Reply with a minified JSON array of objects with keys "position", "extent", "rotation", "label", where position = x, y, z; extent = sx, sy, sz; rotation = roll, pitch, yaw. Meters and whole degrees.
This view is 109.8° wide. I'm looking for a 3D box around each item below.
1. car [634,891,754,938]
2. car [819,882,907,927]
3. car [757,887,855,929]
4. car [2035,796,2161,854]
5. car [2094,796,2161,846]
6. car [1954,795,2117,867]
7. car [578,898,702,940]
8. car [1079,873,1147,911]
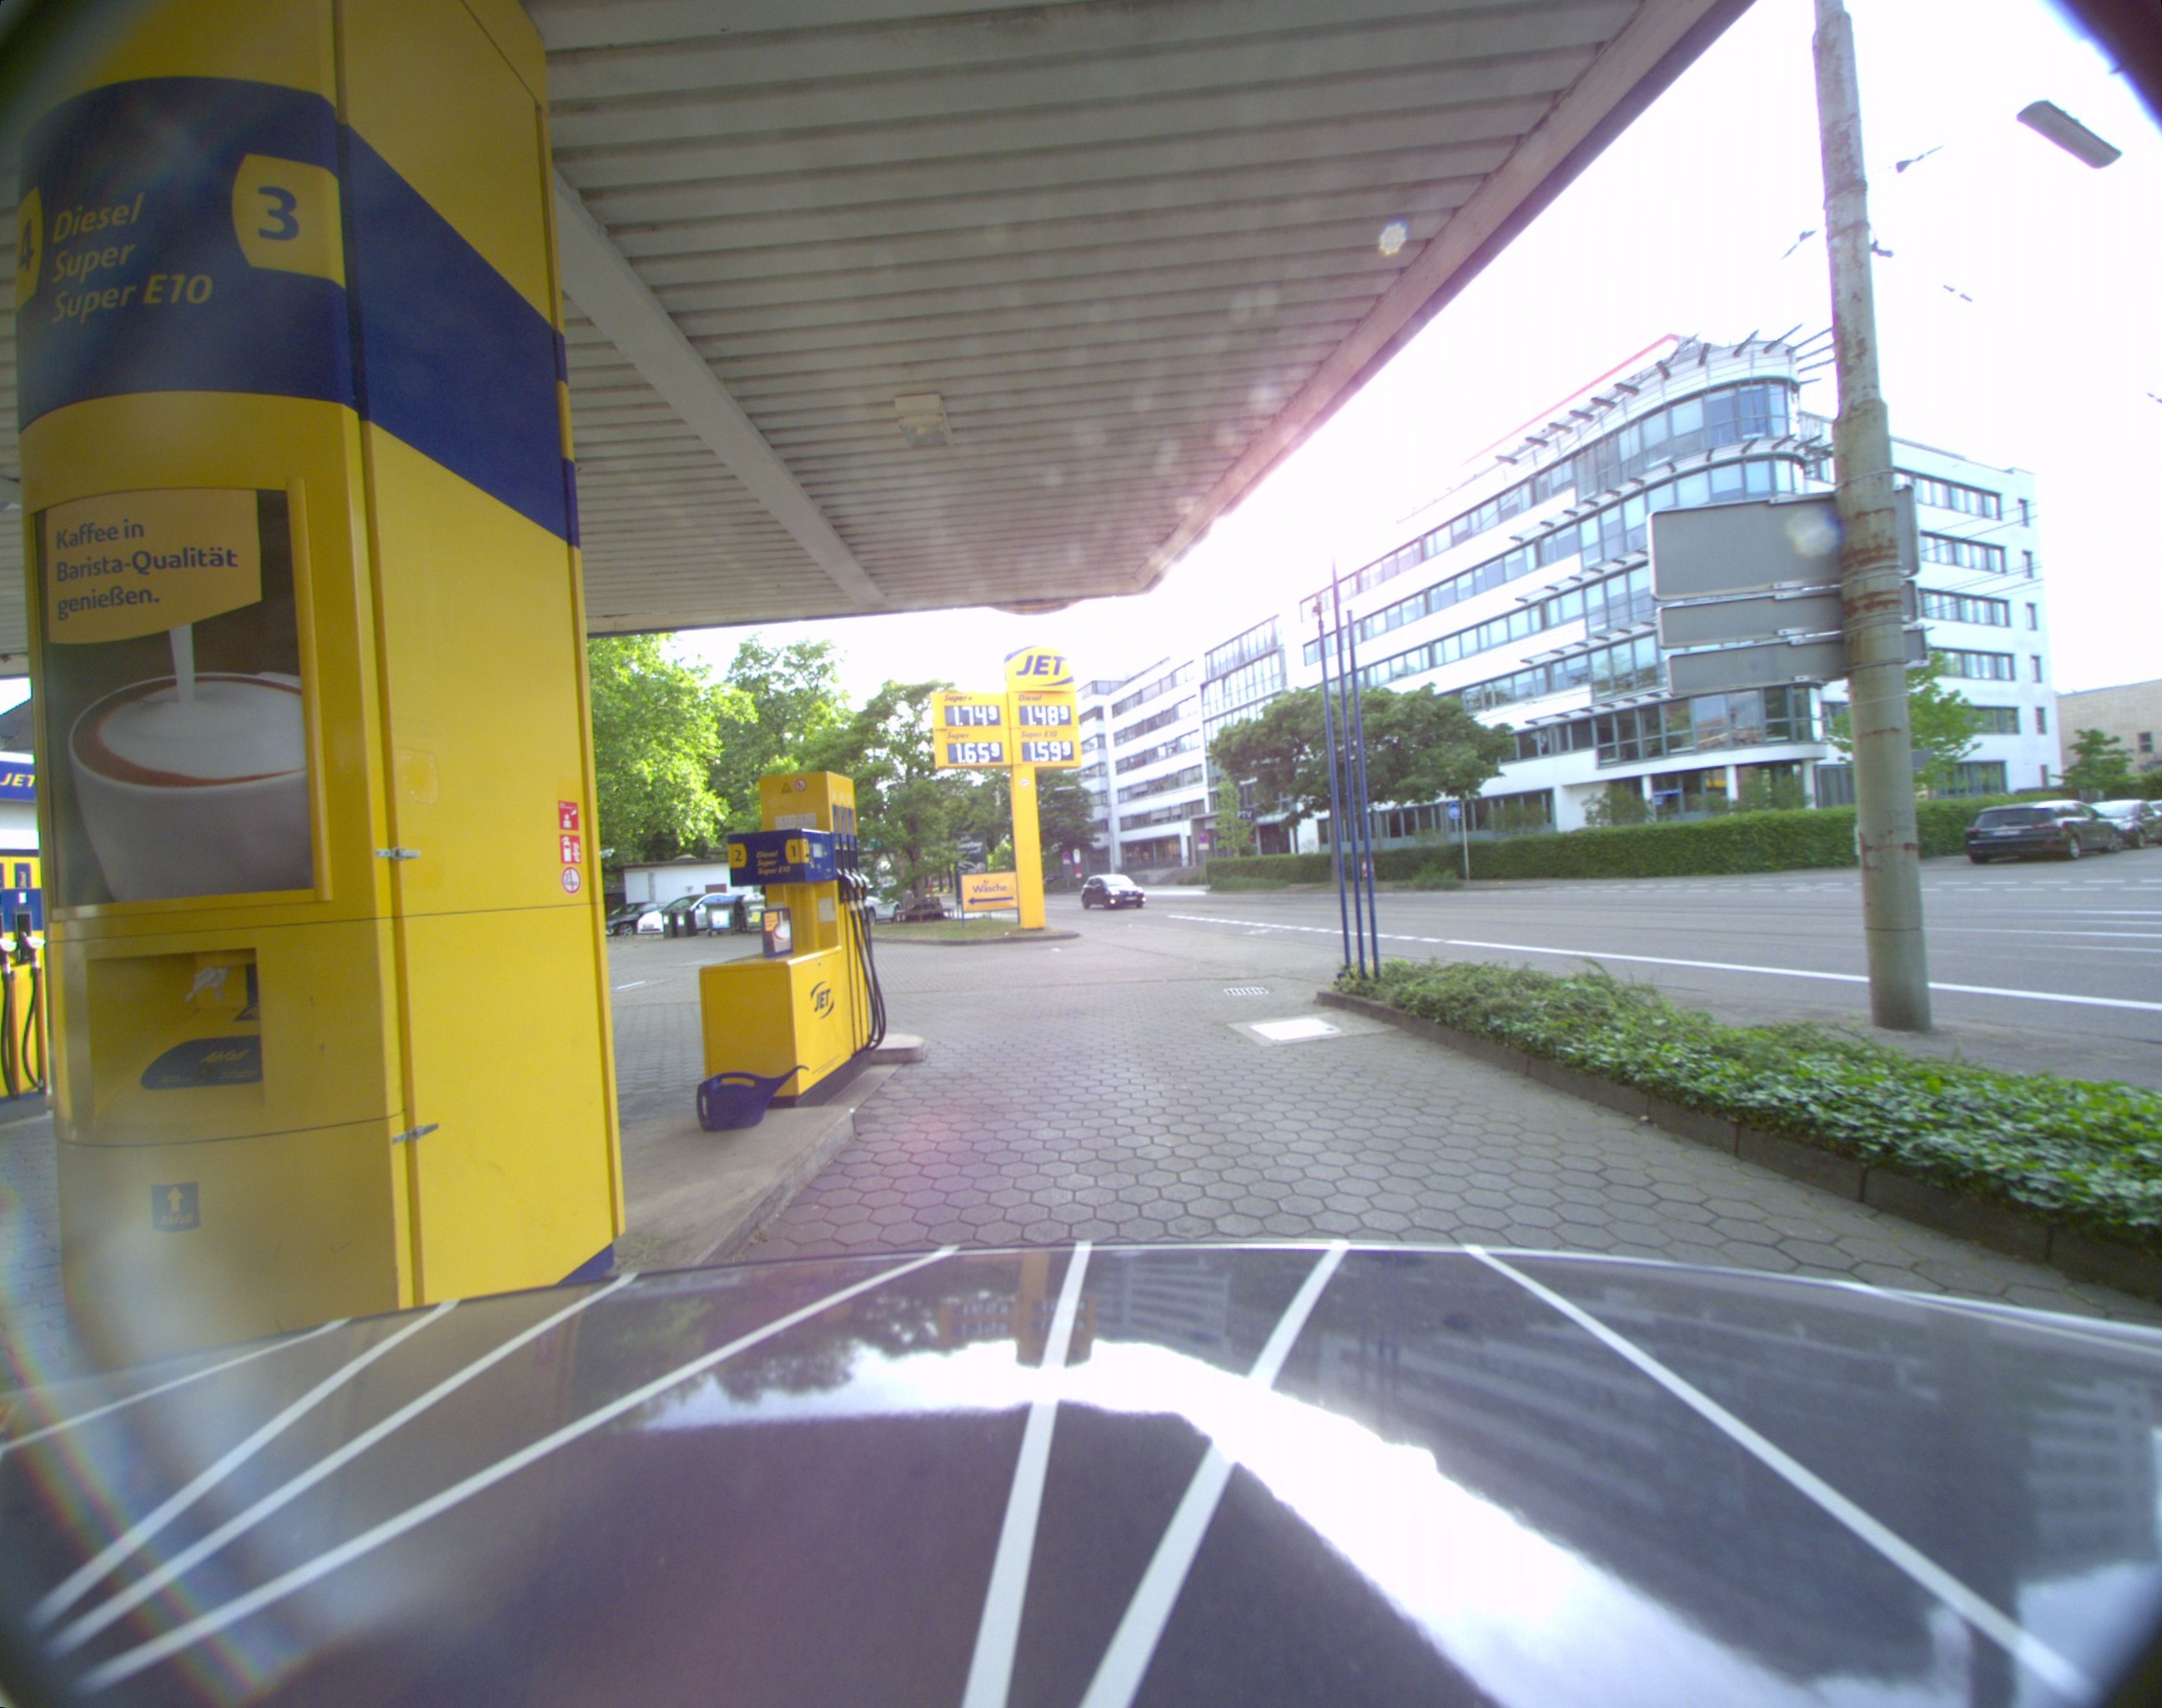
[{"position":[-15.287,2.363,30.324],"extent":[1.771,1.591,4.398],"rotation":[-2,-1,14],"label":"car"},{"position":[-8.631,1.999,30.512],"extent":[1.772,1.591,4.398],"rotation":[-4,-3,6],"label":"car"},{"position":[-11.650,2.264,32.503],"extent":[1.771,1.591,4.400],"rotation":[-4,-4,13],"label":"car"},{"position":[32.549,-0.951,24.102],"extent":[4.296,1.530,1.945],"rotation":[-4,-1,-27],"label":"car"},{"position":[37.132,-1.209,26.155],"extent":[4.296,1.509,1.945],"rotation":[-4,-1,-27],"label":"car"},{"position":[27.278,-0.673,21.700],"extent":[4.296,1.681,2.010],"rotation":[-4,-1,-27],"label":"car"},{"position":[-17.789,2.589,30.918],"extent":[1.771,1.367,4.398],"rotation":[-2,-1,14],"label":"car"},{"position":[1.376,1.675,33.907],"extent":[1.691,1.463,3.807],"rotation":[-4,-1,-19],"label":"car"}]
